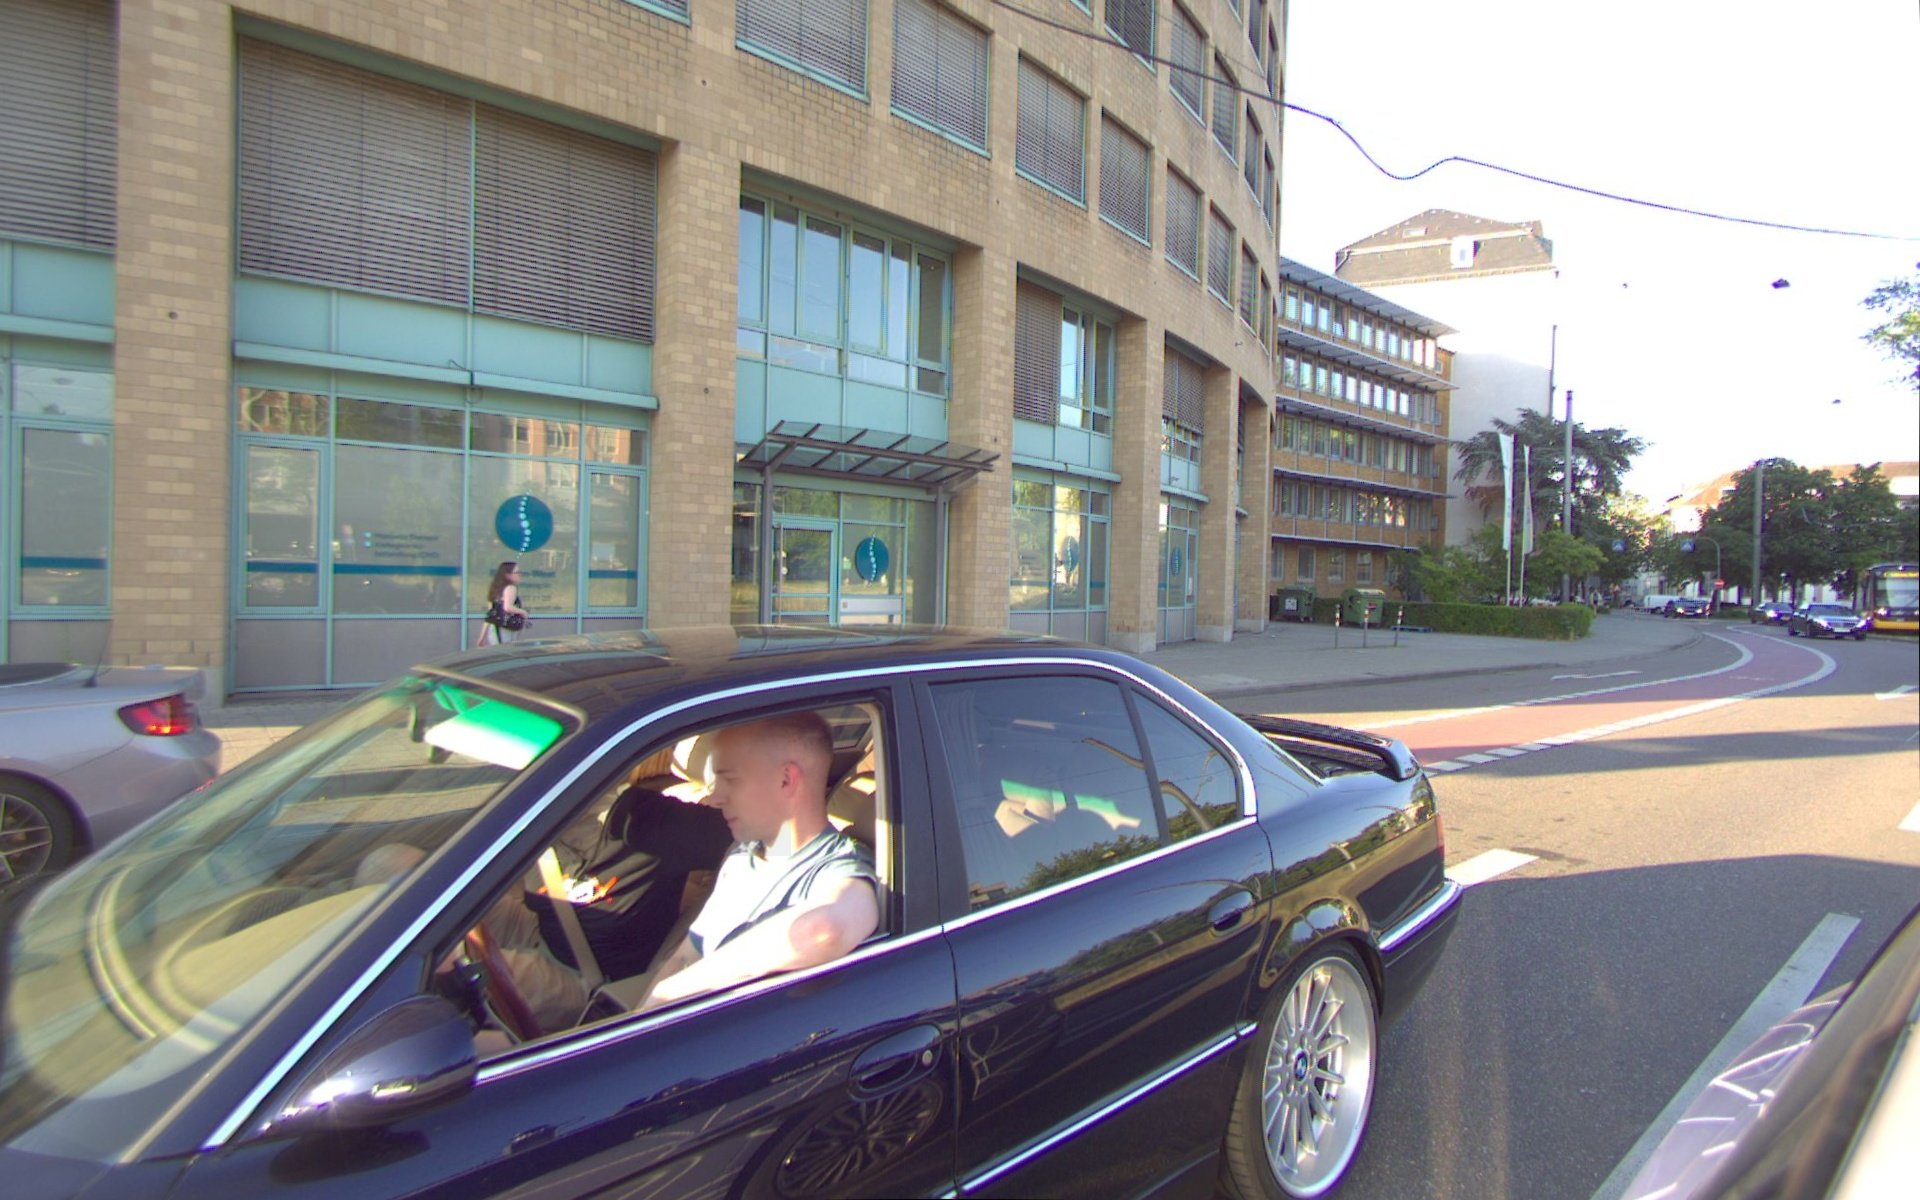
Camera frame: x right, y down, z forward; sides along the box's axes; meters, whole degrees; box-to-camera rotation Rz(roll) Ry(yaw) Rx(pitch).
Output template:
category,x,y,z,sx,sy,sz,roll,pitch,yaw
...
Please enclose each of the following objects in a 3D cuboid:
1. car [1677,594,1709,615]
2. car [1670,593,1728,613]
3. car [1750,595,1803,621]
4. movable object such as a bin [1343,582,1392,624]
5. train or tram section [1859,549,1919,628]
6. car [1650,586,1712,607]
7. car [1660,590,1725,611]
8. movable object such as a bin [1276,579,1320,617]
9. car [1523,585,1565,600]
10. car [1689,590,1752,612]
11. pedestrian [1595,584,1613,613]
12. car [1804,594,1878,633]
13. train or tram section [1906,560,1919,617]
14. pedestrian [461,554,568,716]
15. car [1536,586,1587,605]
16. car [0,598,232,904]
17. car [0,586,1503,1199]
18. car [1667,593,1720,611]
category,x,y,z,sx,sy,sz,roll,pitch,yaw
car,56.032,0.375,77.363,1.809,1.501,4.084,2,0,34
car,67.567,0.270,92.500,4.055,1.571,1.969,3,1,43
car,51.035,0.502,63.322,1.805,1.501,4.093,3,1,29
movable object such as a bin,14.812,0.106,36.808,1.317,1.455,0.976,2,0,-22
train or tram section,49.024,-0.569,51.299,13.124,3.629,2.948,0,1,-39
car,76.774,-0.413,107.827,1.932,2.047,5.078,2,1,-39
car,75.782,0.026,104.718,2.083,1.926,5.078,2,1,-39
movable object such as a bin,13.166,-0.079,39.429,1.340,1.442,0.910,3,1,42
car,71.863,-0.882,124.559,4.356,1.633,1.713,3,1,27
car,64.014,0.084,85.233,4.055,1.576,1.837,3,1,43
pedestrian,41.416,-0.087,65.108,0.805,1.814,0.593,2,0,-30
car,37.539,0.571,43.207,1.809,1.501,4.084,3,1,34
train or tram section,59.538,-0.609,59.238,12.604,3.180,2.934,0,1,-32
pedestrian,-4.620,0.345,10.495,0.786,1.589,0.677,2,0,-43
car,56.930,-0.392,95.878,4.034,1.589,1.818,3,1,30
car,-5.904,0.671,4.484,4.192,1.371,1.786,1,0,-41
car,-0.661,0.687,2.237,4.560,1.371,1.833,1,0,-42
car,73.108,0.235,100.935,4.055,1.571,1.969,3,1,43
